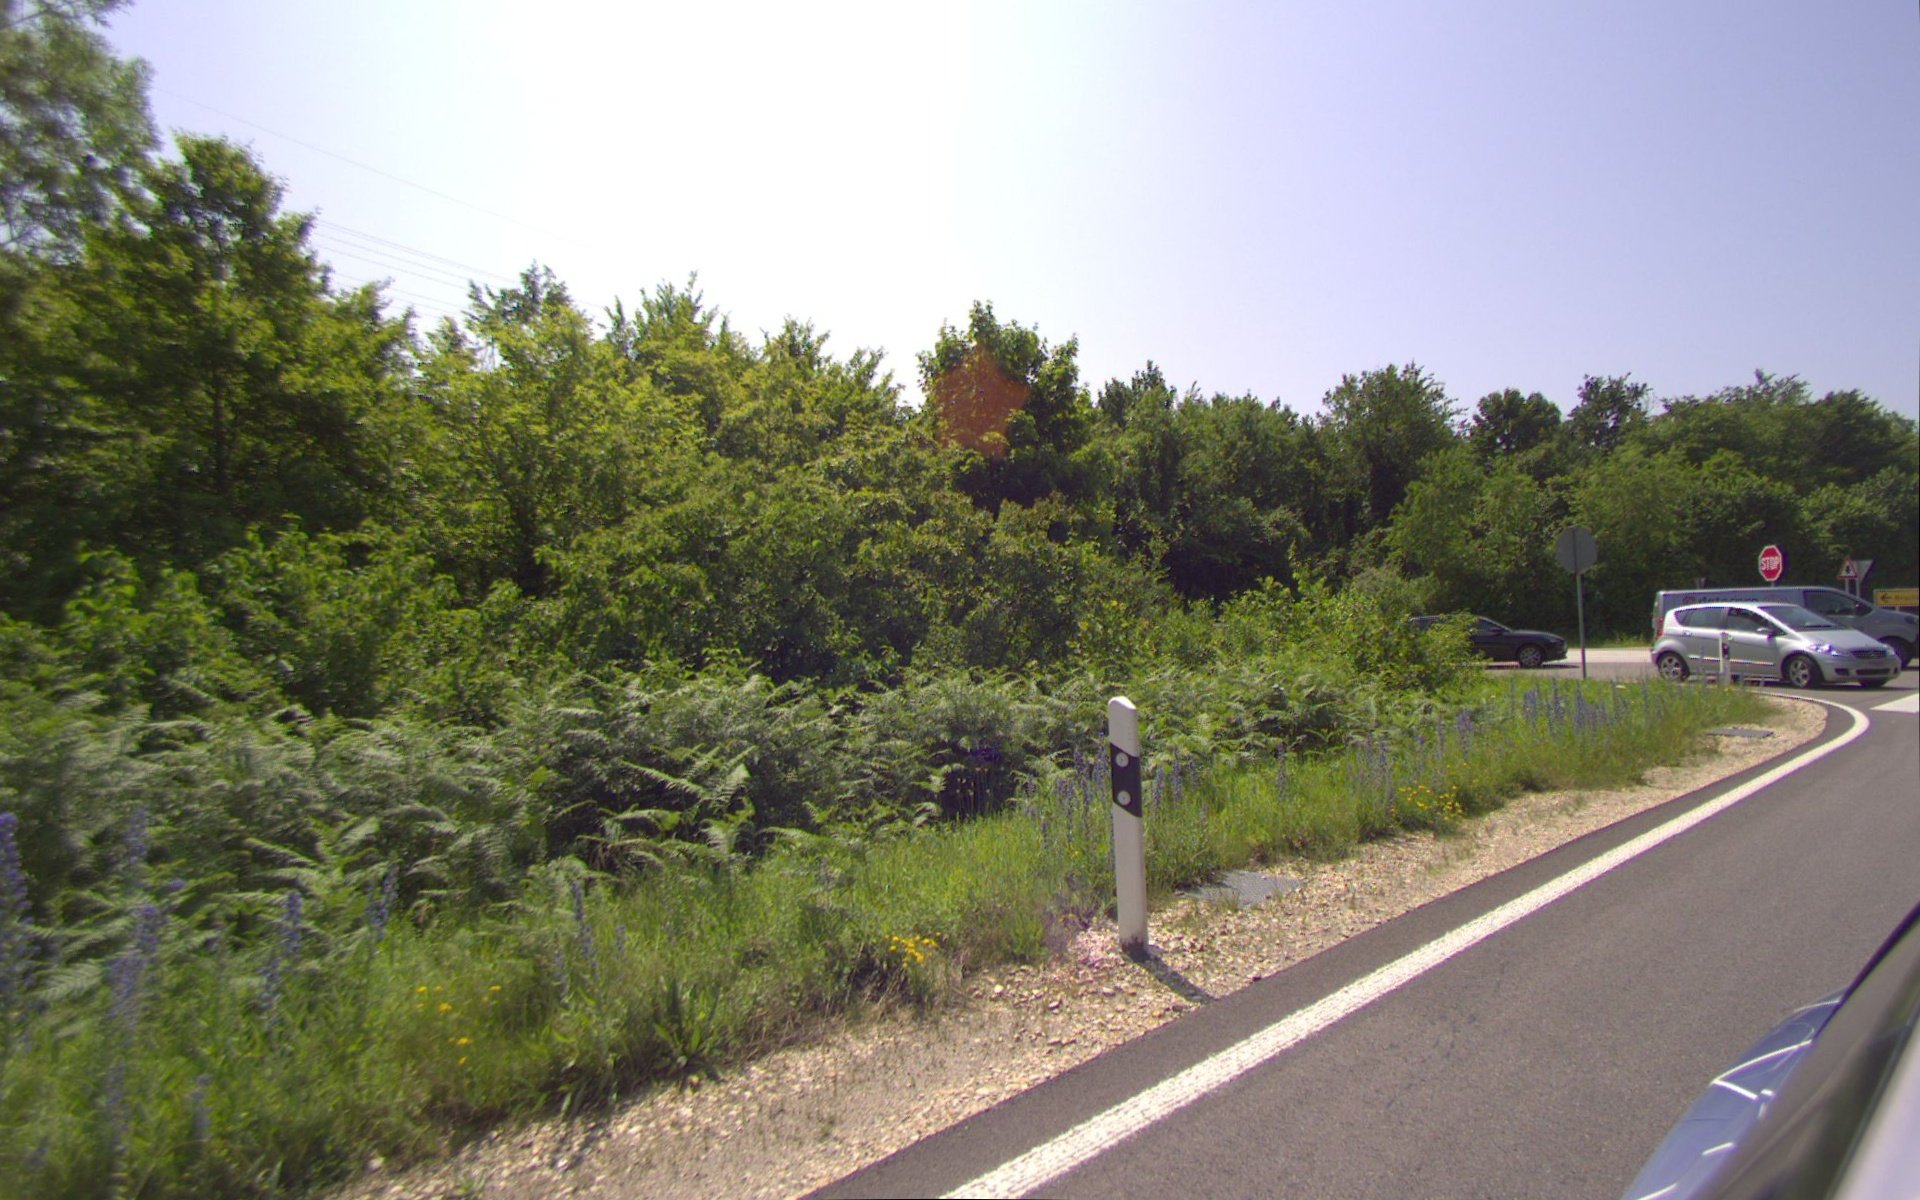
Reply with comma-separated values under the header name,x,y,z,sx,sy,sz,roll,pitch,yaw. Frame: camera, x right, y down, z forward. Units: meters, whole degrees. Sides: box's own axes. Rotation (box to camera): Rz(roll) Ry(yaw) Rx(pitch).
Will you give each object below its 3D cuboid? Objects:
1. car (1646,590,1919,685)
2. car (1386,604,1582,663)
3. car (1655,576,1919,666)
name,x,y,z,sx,sy,sz,roll,pitch,yaw
car,15.525,0.675,19.240,1.807,1.600,4.000,1,-1,-10
car,14.080,0.913,27.363,4.522,1.493,1.849,-2,-1,30
car,19.522,0.448,23.779,5.194,1.930,1.989,-1,0,34
